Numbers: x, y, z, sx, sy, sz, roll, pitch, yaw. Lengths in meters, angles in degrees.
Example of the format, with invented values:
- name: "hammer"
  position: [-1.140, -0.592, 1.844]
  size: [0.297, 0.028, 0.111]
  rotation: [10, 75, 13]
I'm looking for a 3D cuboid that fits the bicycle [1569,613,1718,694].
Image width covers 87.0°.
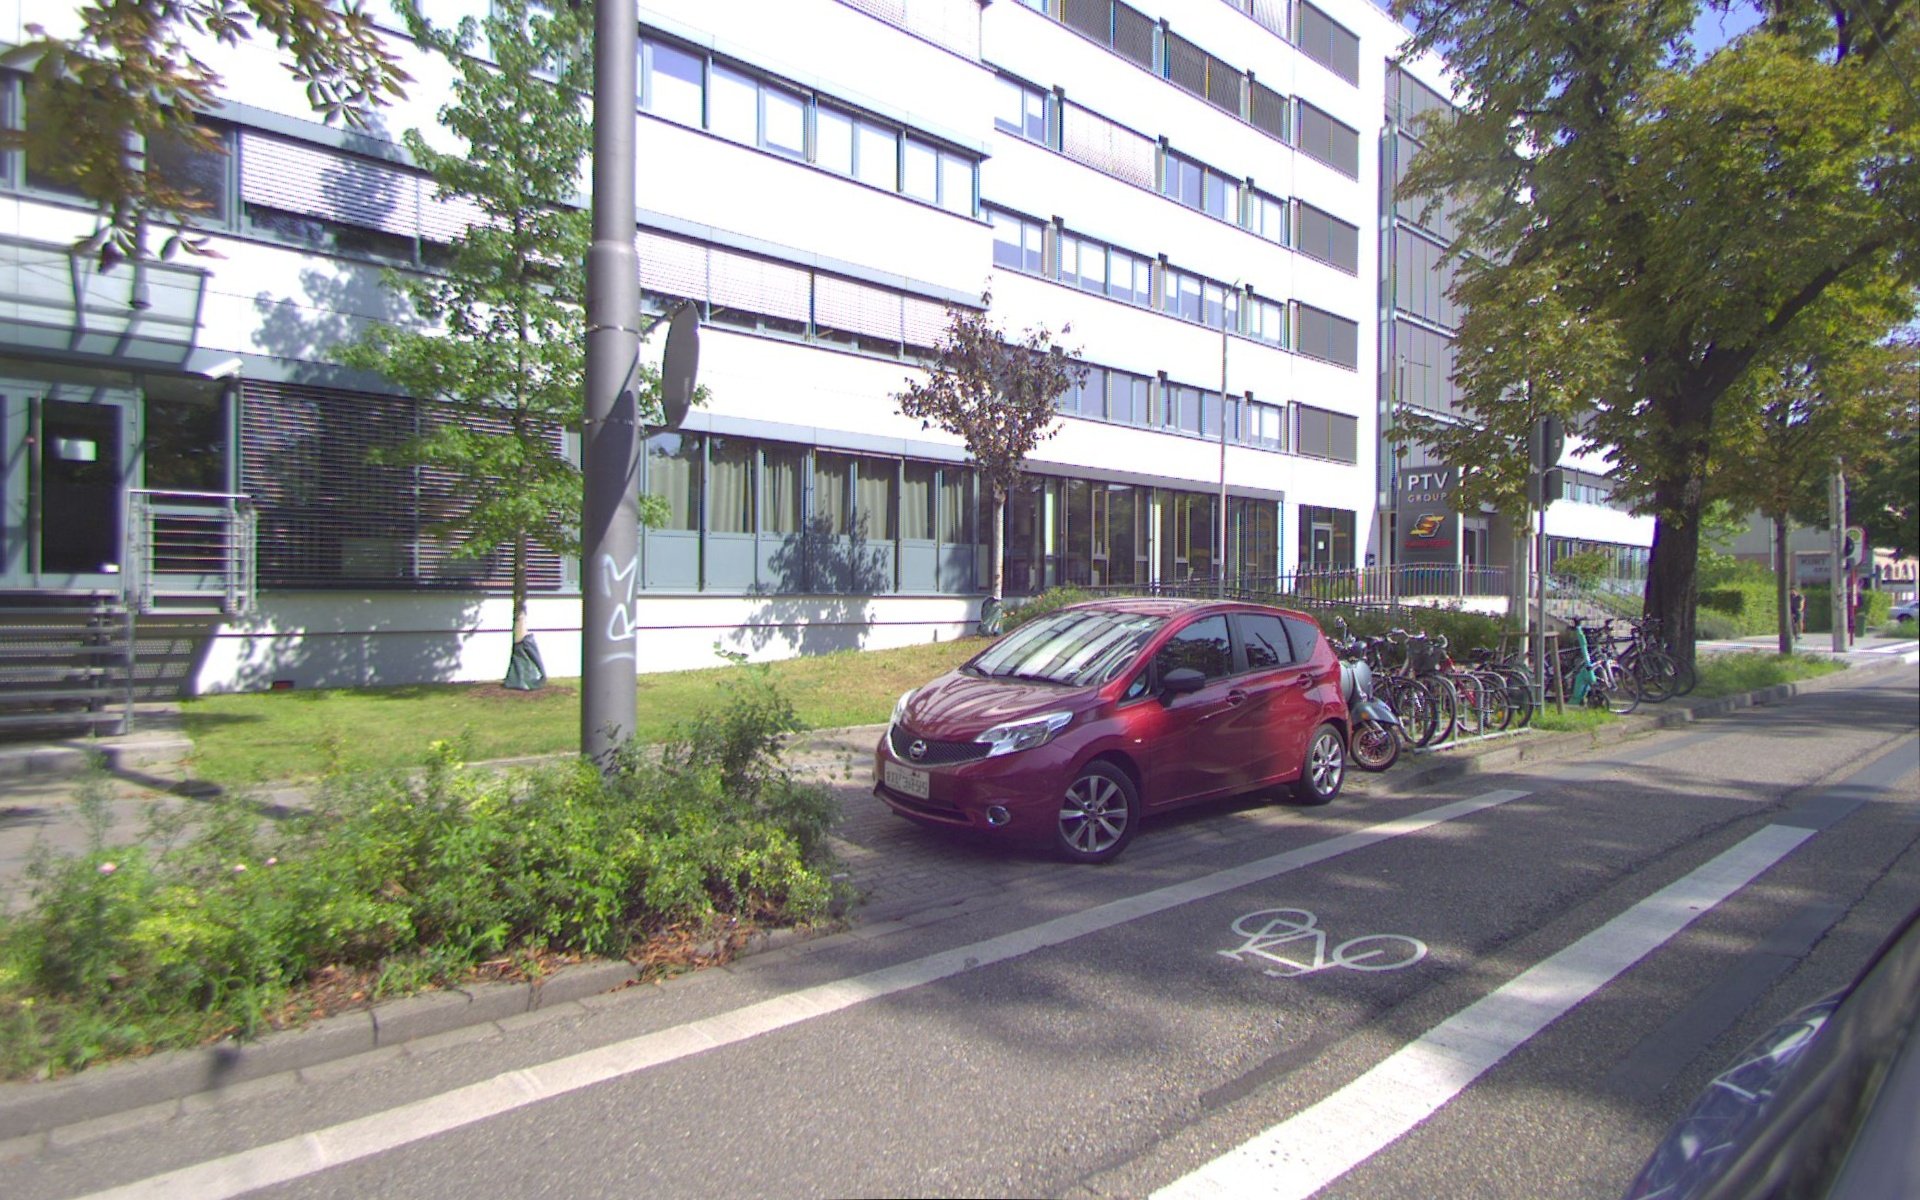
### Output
- name: "bicycle"
  position: [10.275, 0.773, 15.264]
  size: [0.531, 1.085, 1.775]
  rotation: [0, 1, -40]

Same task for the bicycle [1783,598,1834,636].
- name: "bicycle"
  position: [26.642, 0.502, 31.805]
  size: [1.133, 1.139, 2.501]
  rotation: [0, 0, 38]

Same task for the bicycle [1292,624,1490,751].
- name: "bicycle"
  position: [4.279, 0.827, 10.163]
  size: [0.531, 1.085, 1.775]
  rotation: [0, 1, -40]

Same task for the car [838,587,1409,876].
- name: "car"
  position: [1.367, 0.668, 7.294]
  size: [4.199, 1.480, 1.759]
  rotation: [0, 1, -40]

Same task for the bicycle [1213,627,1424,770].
- name: "bicycle"
  position: [3.213, 0.837, 9.219]
  size: [0.531, 1.085, 1.775]
  rotation: [0, 1, -40]

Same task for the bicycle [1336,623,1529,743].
- name: "bicycle"
  position: [4.921, 0.822, 10.637]
  size: [0.531, 1.085, 1.775]
  rotation: [0, 1, -40]

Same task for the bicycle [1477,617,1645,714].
- name: "bicycle"
  position: [7.673, 0.797, 12.988]
  size: [0.531, 1.085, 1.775]
  rotation: [0, 1, -40]

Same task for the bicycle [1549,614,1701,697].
- name: "bicycle"
  position: [9.722, 0.777, 14.860]
  size: [0.531, 1.085, 1.775]
  rotation: [0, 1, -40]

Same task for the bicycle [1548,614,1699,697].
- name: "bicycle"
  position: [9.699, 0.777, 14.855]
  size: [0.531, 1.085, 1.775]
  rotation: [0, 1, -40]

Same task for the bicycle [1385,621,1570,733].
- name: "bicycle"
  position: [5.749, 0.815, 11.335]
  size: [0.531, 1.085, 1.775]
  rotation: [0, 1, -40]

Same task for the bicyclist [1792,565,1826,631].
- name: "bicyclist"
  position: [26.574, -0.065, 31.704]
  size: [0.779, 2.039, 1.256]
  rotation: [0, 0, 39]

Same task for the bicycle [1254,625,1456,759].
- name: "bicycle"
  position: [3.756, 0.832, 9.758]
  size: [0.531, 1.085, 1.775]
  rotation: [0, 1, -40]

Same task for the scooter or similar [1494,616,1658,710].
- name: "scooter or similar"
  position: [8.102, 0.793, 13.376]
  size: [0.531, 1.085, 1.775]
  rotation: [0, 1, -40]

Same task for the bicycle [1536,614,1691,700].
- name: "bicycle"
  position: [9.291, 0.781, 14.455]
  size: [0.531, 1.085, 1.775]
  rotation: [0, 1, -40]

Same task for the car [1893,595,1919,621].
- name: "car"
  position: [57.080, 0.462, 58.477]
  size: [1.929, 1.534, 4.542]
  rotation: [0, 0, -44]
